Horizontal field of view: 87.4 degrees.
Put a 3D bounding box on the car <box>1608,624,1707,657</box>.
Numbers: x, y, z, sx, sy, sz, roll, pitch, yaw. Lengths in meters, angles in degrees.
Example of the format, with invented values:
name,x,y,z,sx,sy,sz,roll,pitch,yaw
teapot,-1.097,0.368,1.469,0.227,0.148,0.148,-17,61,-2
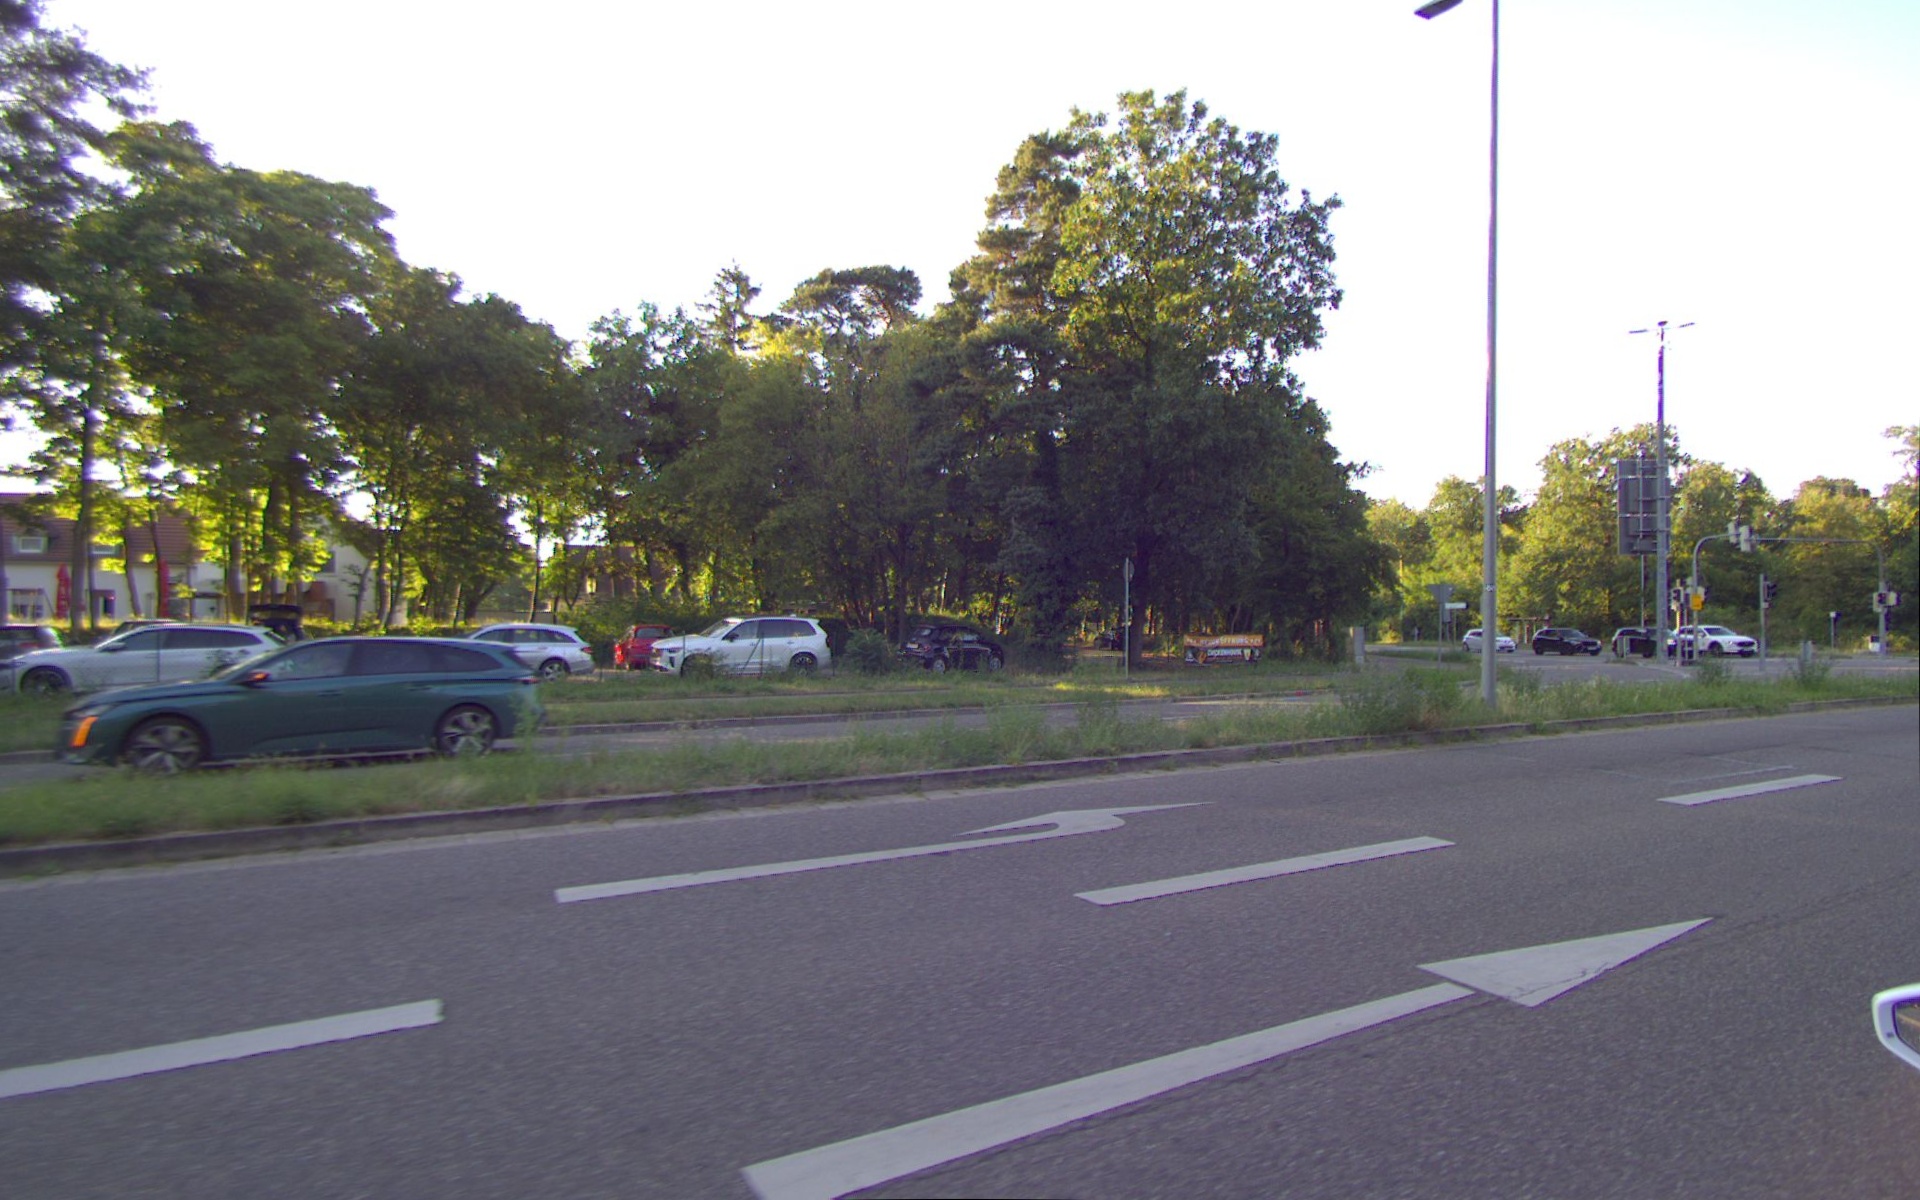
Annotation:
name,x,y,z,sx,sy,sz,roll,pitch,yaw
car,36.179,2.064,52.248,1.962,1.661,4.254,0,-1,-6

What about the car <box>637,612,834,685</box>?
name,x,y,z,sx,sy,sz,roll,pitch,yaw
car,-6.039,1.270,27.240,4.869,1.810,1.982,1,-2,-33

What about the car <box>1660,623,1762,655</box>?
name,x,y,z,sx,sy,sz,roll,pitch,yaw
car,39.913,2.049,53.516,1.962,1.661,4.254,0,-1,-6

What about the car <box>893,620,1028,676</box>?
name,x,y,z,sx,sy,sz,roll,pitch,yaw
car,0.025,1.433,30.701,3.775,1.618,1.843,1,-2,-34

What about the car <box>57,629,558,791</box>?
name,x,y,z,sx,sy,sz,roll,pitch,yaw
car,-7.188,1.091,11.527,4.468,1.514,1.980,1,-2,-35

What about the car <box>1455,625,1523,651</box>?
name,x,y,z,sx,sy,sz,roll,pitch,yaw
car,35.619,2.524,67.784,1.963,1.661,4.252,0,-1,-8

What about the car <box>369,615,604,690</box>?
name,x,y,z,sx,sy,sz,roll,pitch,yaw
car,-11.236,1.208,23.952,4.869,1.627,1.982,1,-2,-33

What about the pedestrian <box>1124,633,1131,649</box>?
name,x,y,z,sx,sy,sz,roll,pitch,yaw
pedestrian,9.776,2.407,58.731,0.316,0.937,0.375,0,-1,-10

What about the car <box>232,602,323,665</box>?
name,x,y,z,sx,sy,sz,roll,pitch,yaw
car,-19.410,0.944,28.727,1.745,1.672,3.970,1,-2,-29

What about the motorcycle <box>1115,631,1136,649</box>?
name,x,y,z,sx,sy,sz,roll,pitch,yaw
motorcycle,9.668,2.353,58.678,1.156,1.031,0.383,0,-1,-10

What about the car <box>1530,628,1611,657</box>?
name,x,y,z,sx,sy,sz,roll,pitch,yaw
car,36.138,2.500,59.604,1.962,1.661,4.254,0,-1,-6

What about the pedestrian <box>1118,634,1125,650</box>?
name,x,y,z,sx,sy,sz,roll,pitch,yaw
pedestrian,9.451,2.465,58.666,0.316,0.931,0.375,0,-1,-10

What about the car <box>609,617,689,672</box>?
name,x,y,z,sx,sy,sz,roll,pitch,yaw
car,-10.242,1.426,32.913,1.894,1.672,3.974,1,-2,-26

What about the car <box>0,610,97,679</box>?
name,x,y,z,sx,sy,sz,roll,pitch,yaw
car,-24.397,1.145,26.426,1.745,1.672,3.970,1,-2,-29

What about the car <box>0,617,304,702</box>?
name,x,y,z,sx,sy,sz,roll,pitch,yaw
car,-16.335,1.168,20.690,4.659,1.568,1.982,1,-2,-33
